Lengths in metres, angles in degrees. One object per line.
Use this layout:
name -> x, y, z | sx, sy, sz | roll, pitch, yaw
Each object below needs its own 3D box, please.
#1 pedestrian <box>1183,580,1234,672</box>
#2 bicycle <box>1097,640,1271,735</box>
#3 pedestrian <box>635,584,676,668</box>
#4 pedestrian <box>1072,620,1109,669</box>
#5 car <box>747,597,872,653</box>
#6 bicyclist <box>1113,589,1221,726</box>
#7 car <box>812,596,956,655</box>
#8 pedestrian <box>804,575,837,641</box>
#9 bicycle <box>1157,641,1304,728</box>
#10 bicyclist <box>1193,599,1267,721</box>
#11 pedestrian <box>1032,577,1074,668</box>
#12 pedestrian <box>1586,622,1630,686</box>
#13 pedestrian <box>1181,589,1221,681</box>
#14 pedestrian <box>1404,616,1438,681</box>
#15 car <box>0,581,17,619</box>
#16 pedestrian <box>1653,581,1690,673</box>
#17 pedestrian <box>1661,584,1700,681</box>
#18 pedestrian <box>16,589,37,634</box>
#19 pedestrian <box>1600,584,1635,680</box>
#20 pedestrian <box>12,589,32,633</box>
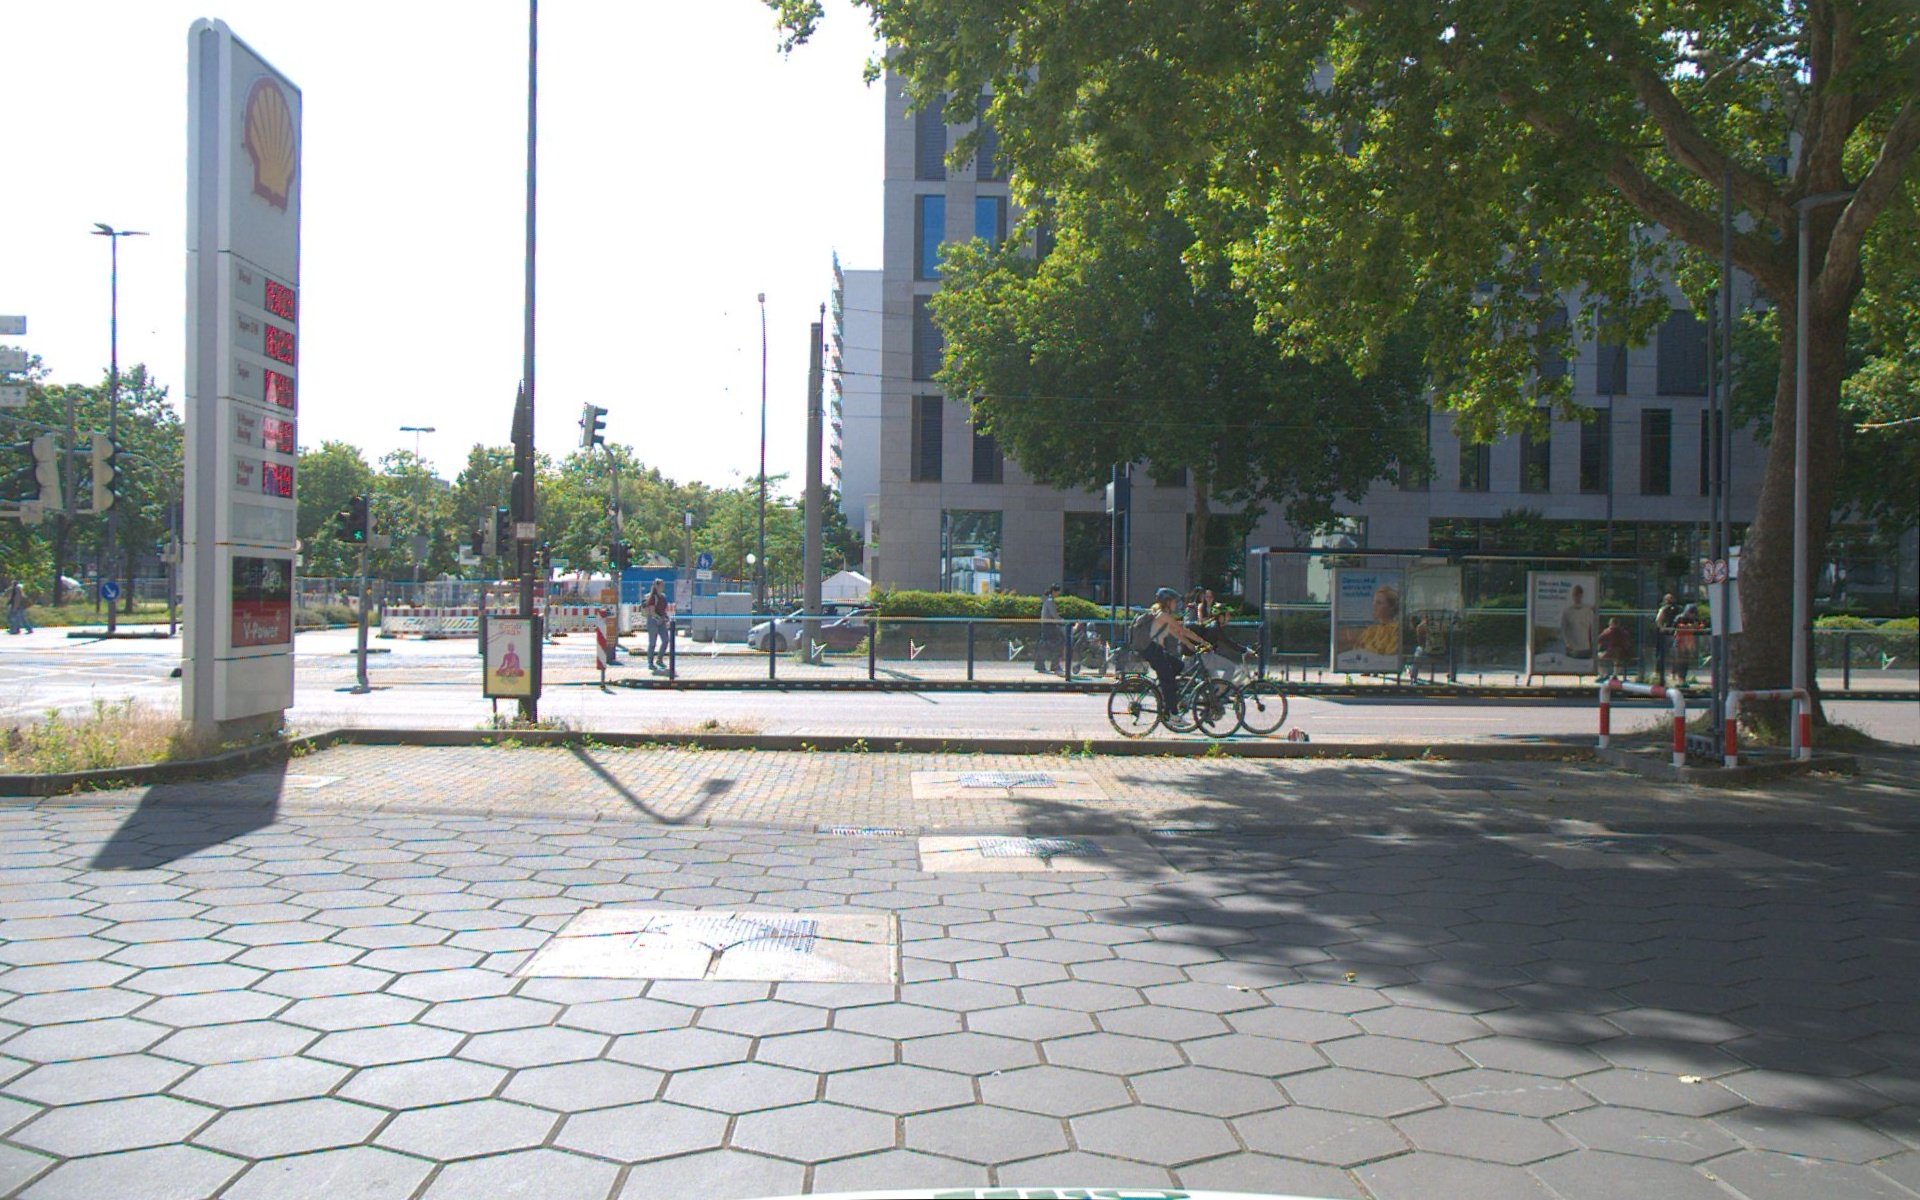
pedestrian -> 4.709, 0.485, 31.335 | 0.912, 1.712, 0.503 | 1, 0, 6
bicycle -> 2.692, 1.050, 19.979 | 1.981, 1.101, 0.639 | 1, 0, -8
pedestrian -> -5.757, 0.479, 31.294 | 0.636, 1.567, 0.503 | 1, 0, 6
pedestrian -> 2.473, 0.835, 31.271 | 0.676, 0.895, 0.503 | 1, 0, 6
car -> -4.505, 0.734, 49.279 | 3.613, 1.579, 1.589 | 1, 0, -8
bicyclist -> 2.491, 0.683, 19.931 | 1.147, 1.608, 0.638 | 1, 0, -9
car -> -2.155, 0.717, 46.381 | 3.912, 1.579, 1.700 | 1, 0, -8
pedestrian -> -4.906, 0.263, 58.096 | 1.086, 2.287, 1.102 | 1, 0, -3
bicycle -> 3.535, 1.106, 21.690 | 1.824, 1.101, 0.524 | 1, 0, -4
bicyclist -> 3.543, 0.783, 21.708 | 0.845, 1.571, 0.534 | 1, -1, -3
pedestrian -> 1.762, 0.422, 31.351 | 0.760, 1.712, 0.503 | 1, 0, 6
pedestrian -> 12.005, 0.998, 30.644 | 0.615, 1.158, 0.524 | 1, 0, 4
pedestrian -> 4.375, 0.629, 30.027 | 0.572, 1.619, 0.670 | 1, 1, -3
pedestrian -> 8.463, 0.888, 30.387 | 0.488, 1.158, 0.524 | 1, 0, 4
car -> -48.938, 0.052, 81.381 | 3.904, 1.847, 2.000 | -1, 0, 1
pedestrian -> 13.808, 0.525, 32.099 | 0.488, 1.766, 0.524 | 1, 0, 0
pedestrian -> 13.328, 0.595, 30.594 | 0.488, 1.766, 0.524 | 1, 0, 0
pedestrian -> -31.252, 0.387, 55.375 | 0.556, 1.495, 0.509 | 1, 0, -27
pedestrian -> 12.179, 0.595, 30.641 | 0.488, 1.766, 0.406 | 1, -1, 0
pedestrian -> -31.939, 0.382, 56.306 | 0.556, 1.495, 0.509 | 1, 0, -27
